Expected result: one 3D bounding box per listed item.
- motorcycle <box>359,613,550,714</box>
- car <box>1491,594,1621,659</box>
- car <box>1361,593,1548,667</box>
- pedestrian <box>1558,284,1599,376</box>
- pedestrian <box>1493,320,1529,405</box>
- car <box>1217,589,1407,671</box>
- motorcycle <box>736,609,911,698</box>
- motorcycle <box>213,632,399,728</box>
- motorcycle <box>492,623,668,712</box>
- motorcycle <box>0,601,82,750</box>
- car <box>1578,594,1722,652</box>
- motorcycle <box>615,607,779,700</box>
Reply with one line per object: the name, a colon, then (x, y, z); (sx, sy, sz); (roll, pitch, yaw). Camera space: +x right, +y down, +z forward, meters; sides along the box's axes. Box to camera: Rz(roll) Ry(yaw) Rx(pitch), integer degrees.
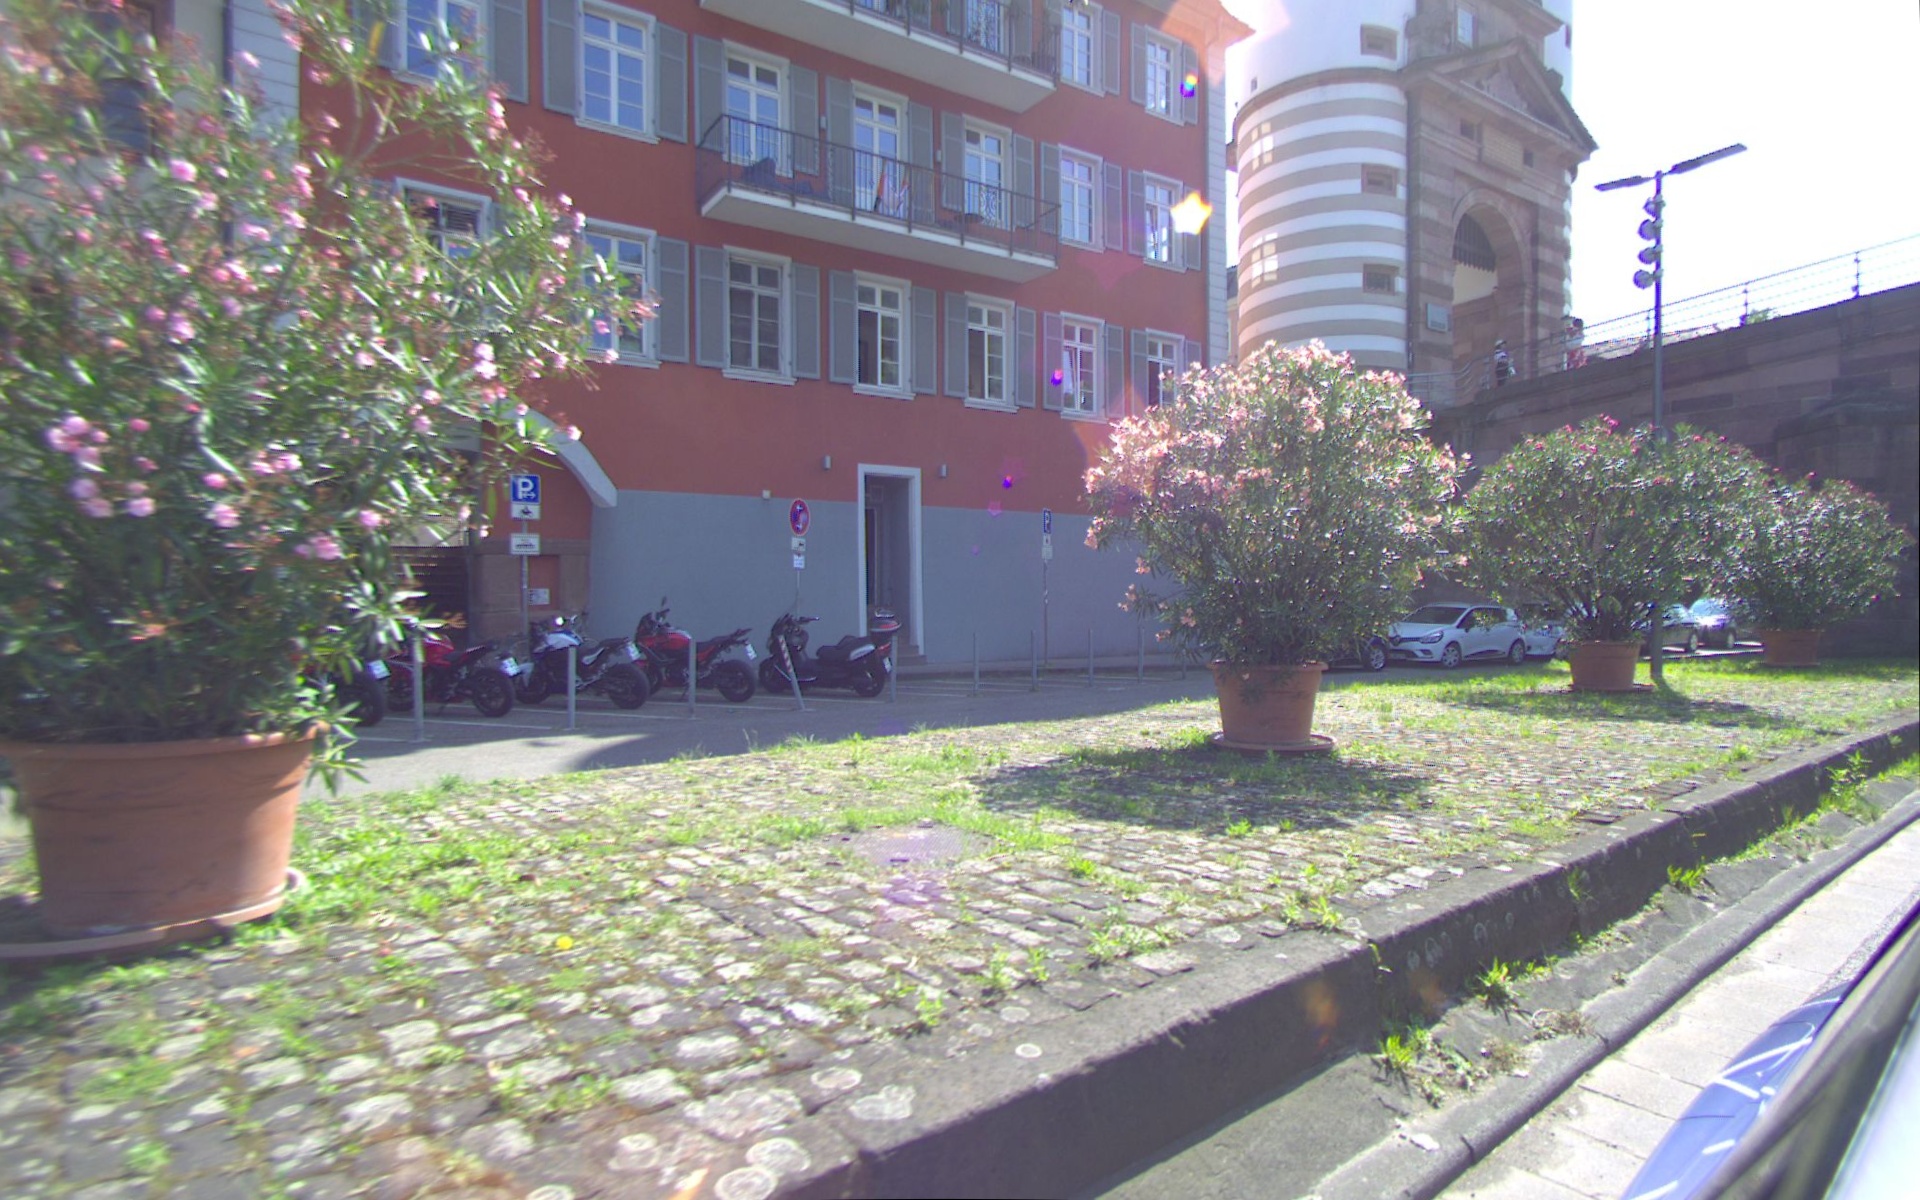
motorcycle: (-6.220, 0.760, 12.479); (2.162, 1.162, 0.626); (0, 0, 10)
car: (15.153, 0.625, 25.690); (3.599, 1.495, 1.558); (-1, 1, -36)
car: (11.506, 0.623, 23.463); (4.330, 1.511, 1.901); (-1, 1, -32)
pedestrian: (15.180, -6.615, 24.842); (0.694, 2.038, 0.641); (-1, 1, -34)
pedestrian: (14.321, -6.157, 26.300); (0.694, 2.038, 0.580); (-1, 1, -34)
car: (7.424, 0.582, 21.300); (3.733, 1.562, 1.679); (-1, 0, -28)
motorcycle: (-2.055, 0.774, 15.310); (2.504, 1.249, 0.839); (0, 0, 13)
motorcycle: (-7.348, 0.877, 11.383); (1.900, 0.999, 0.546); (0, 0, 10)
motorcycle: (-4.990, 0.864, 13.319); (2.162, 1.090, 0.626); (0, 0, 10)
motorcycle: (-9.277, 0.652, 9.345); (2.154, 1.283, 0.779); (0, 0, 18)
car: (19.550, 0.592, 28.627); (4.405, 1.454, 1.782); (-1, 1, -32)
motorcycle: (-3.729, 0.730, 14.399); (2.120, 1.249, 0.839); (0, 0, 13)
